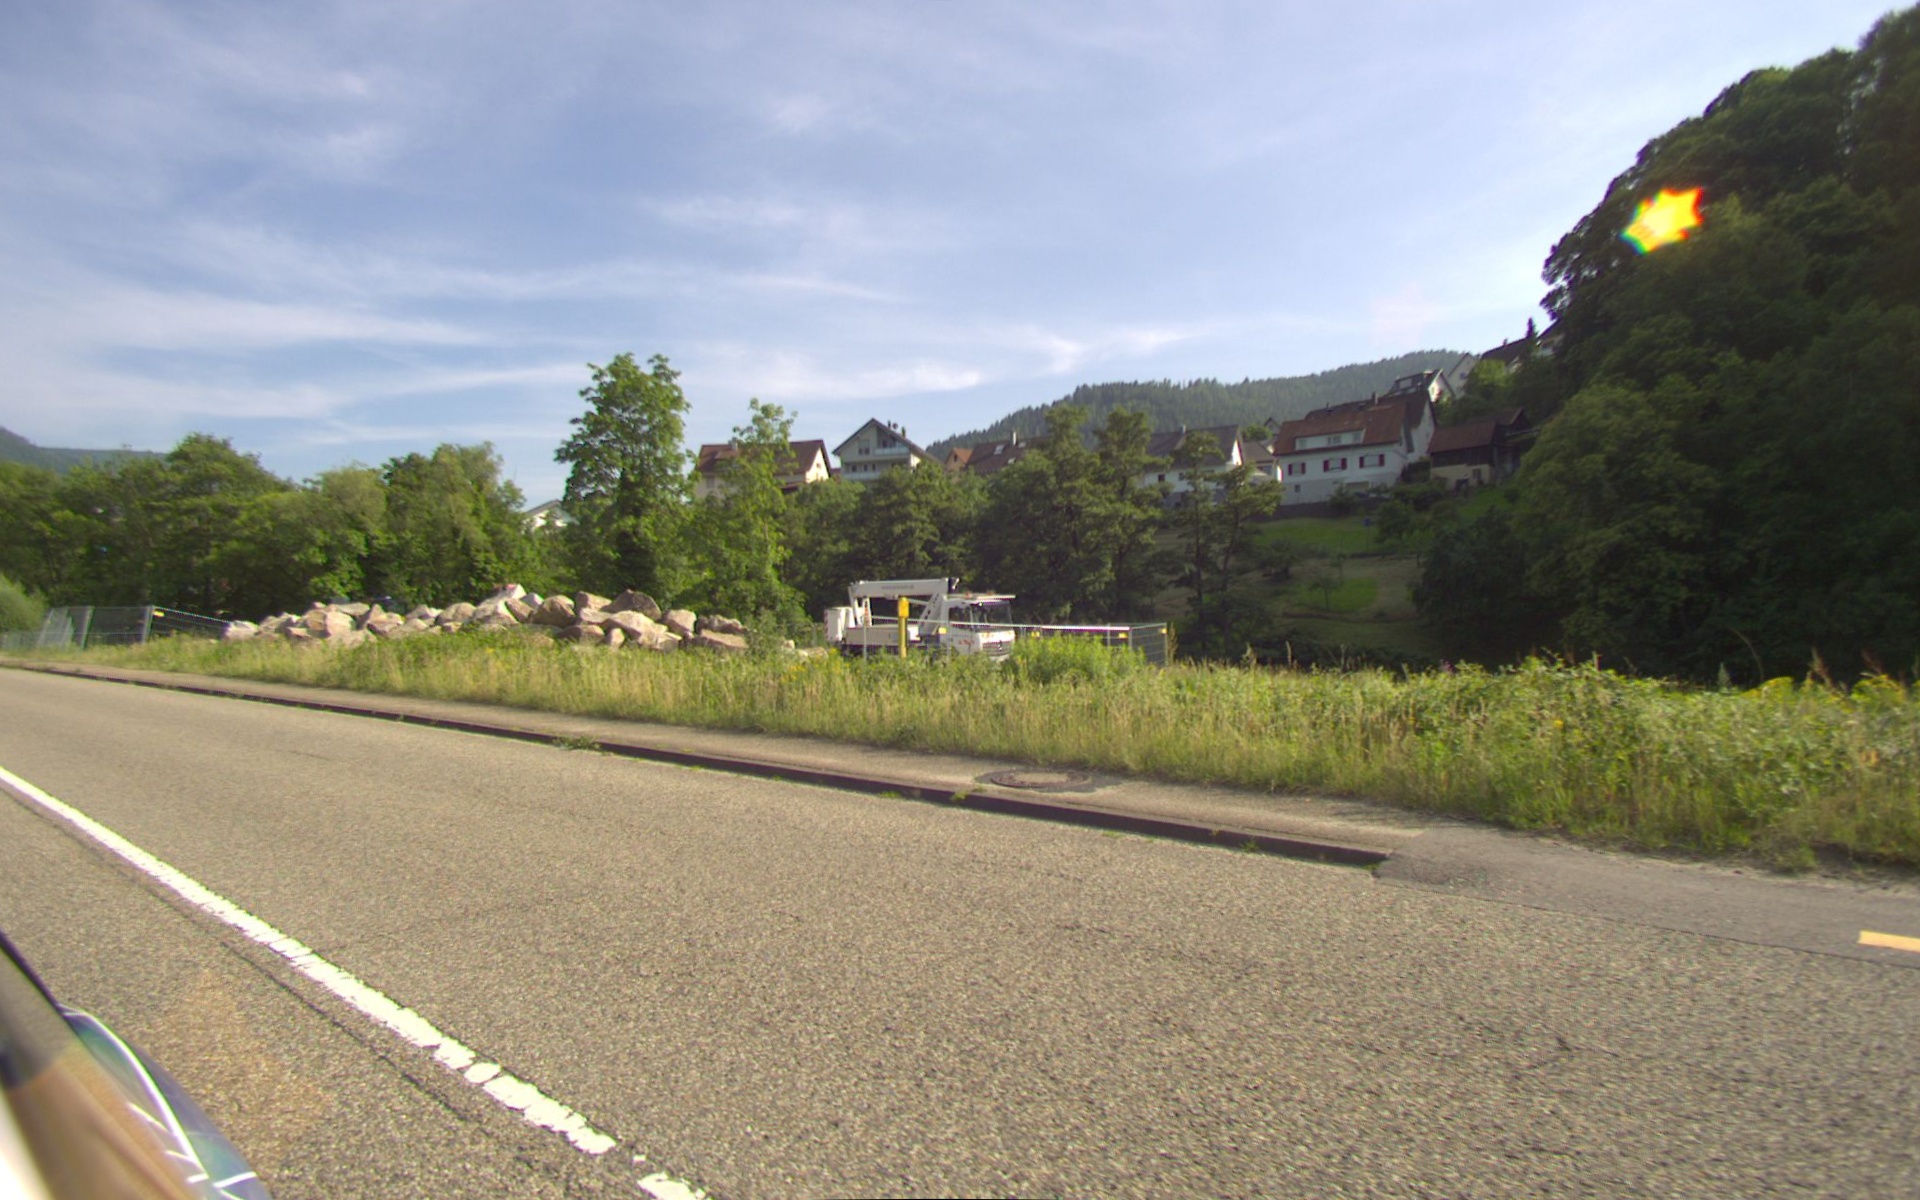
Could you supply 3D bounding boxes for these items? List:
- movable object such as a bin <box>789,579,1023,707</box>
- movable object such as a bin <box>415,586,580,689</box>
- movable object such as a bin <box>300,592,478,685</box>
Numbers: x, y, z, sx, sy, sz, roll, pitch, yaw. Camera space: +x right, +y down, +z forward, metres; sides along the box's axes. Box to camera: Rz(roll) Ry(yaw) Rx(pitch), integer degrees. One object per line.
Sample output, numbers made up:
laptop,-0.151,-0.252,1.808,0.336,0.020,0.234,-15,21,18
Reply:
movable object such as a bin,-1.932,1.476,34.633,7.785,3.978,2.875,-1,-4,33
movable object such as a bin,-19.382,1.588,42.306,7.207,3.978,2.700,-1,-4,33
movable object such as a bin,-26.616,1.792,46.934,9.957,3.978,2.678,-1,-4,32
